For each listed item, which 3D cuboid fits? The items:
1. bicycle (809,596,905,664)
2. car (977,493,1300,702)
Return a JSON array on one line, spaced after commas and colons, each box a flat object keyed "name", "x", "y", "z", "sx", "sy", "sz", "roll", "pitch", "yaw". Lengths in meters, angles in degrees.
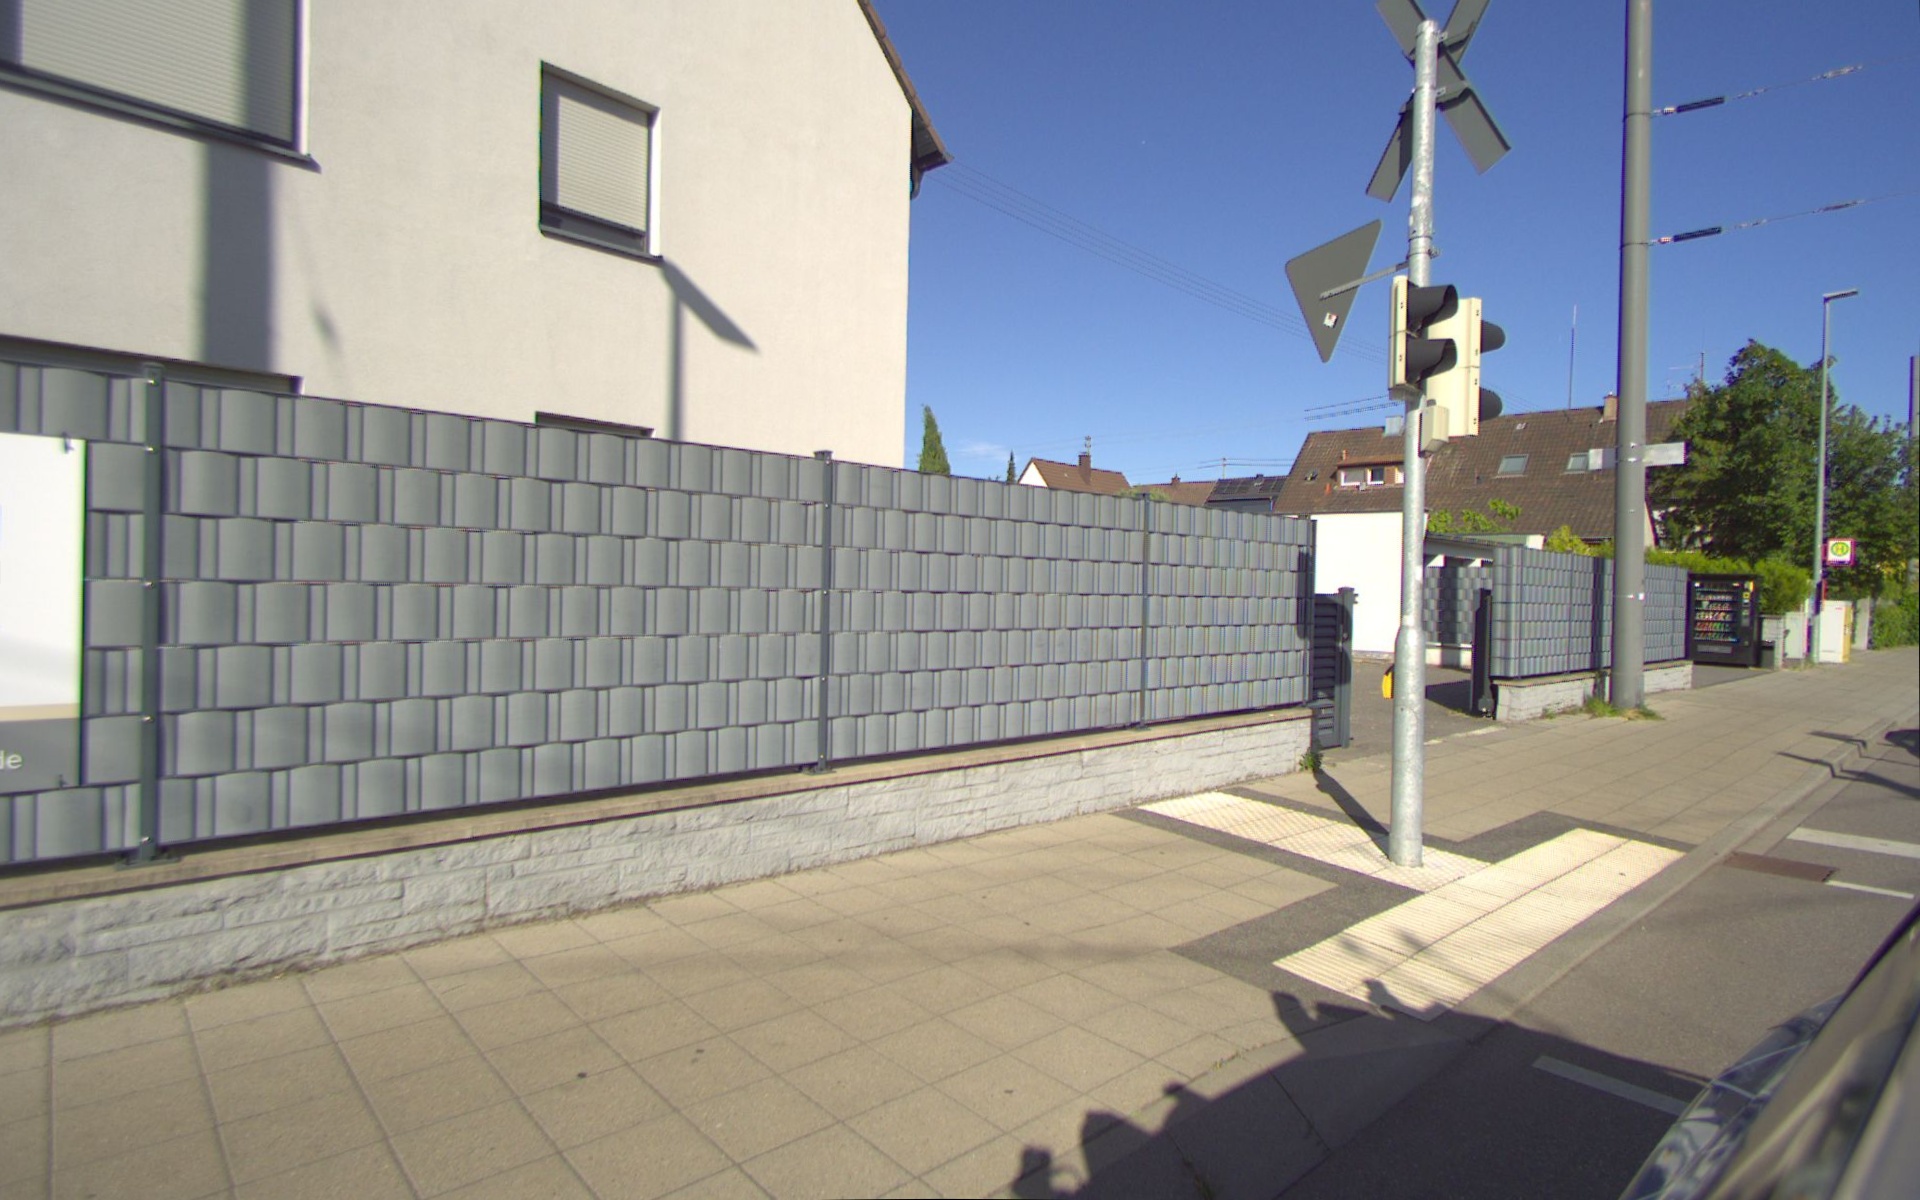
[{"name": "bicycle", "x": -1.776, "y": 0.489, "z": 17.238, "sx": 1.808, "sy": 1.110, "sz": 0.535, "roll": 0, "pitch": 0, "yaw": 41}, {"name": "car", "x": 2.289, "y": -0.105, "z": 14.566, "sx": 1.959, "sy": 2.462, "sz": 5.000, "roll": -1, "pitch": 2, "yaw": -27}]
